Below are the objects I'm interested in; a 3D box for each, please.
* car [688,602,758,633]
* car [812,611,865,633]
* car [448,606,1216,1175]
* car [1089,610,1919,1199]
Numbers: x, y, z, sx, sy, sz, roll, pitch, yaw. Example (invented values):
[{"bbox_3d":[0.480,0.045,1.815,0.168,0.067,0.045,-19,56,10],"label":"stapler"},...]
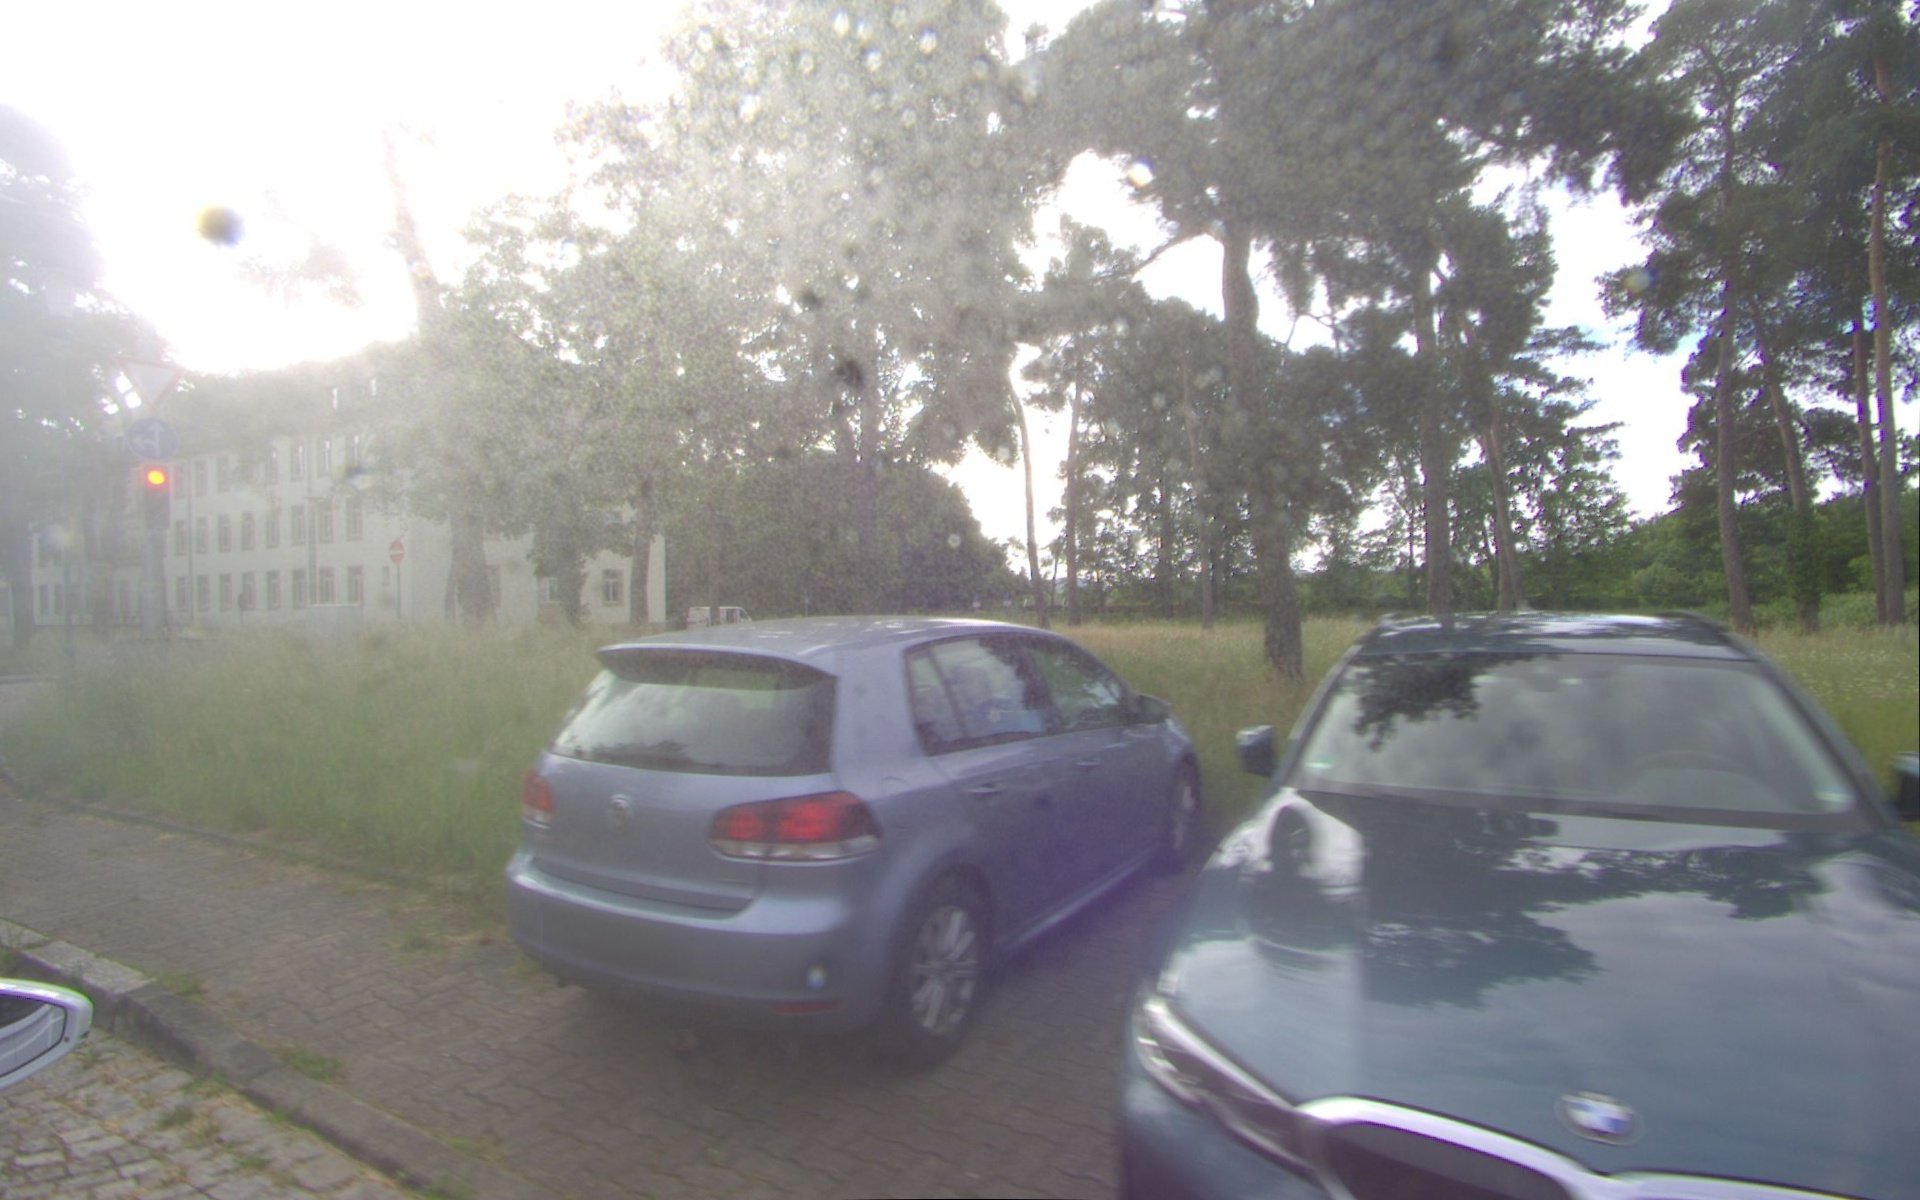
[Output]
[{"bbox_3d":[-18.080,1.339,76.556,2.182,2.318,5.169,-1,-1,33],"label":"car"},{"bbox_3d":[-8.663,1.587,71.574,1.972,1.527,3.475,-1,-1,32],"label":"car"},{"bbox_3d":[-0.131,0.785,4.677,1.582,1.446,3.756,0,1,31],"label":"car"},{"bbox_3d":[2.122,0.799,3.537,1.734,1.502,4.753,0,0,28],"label":"car"}]
